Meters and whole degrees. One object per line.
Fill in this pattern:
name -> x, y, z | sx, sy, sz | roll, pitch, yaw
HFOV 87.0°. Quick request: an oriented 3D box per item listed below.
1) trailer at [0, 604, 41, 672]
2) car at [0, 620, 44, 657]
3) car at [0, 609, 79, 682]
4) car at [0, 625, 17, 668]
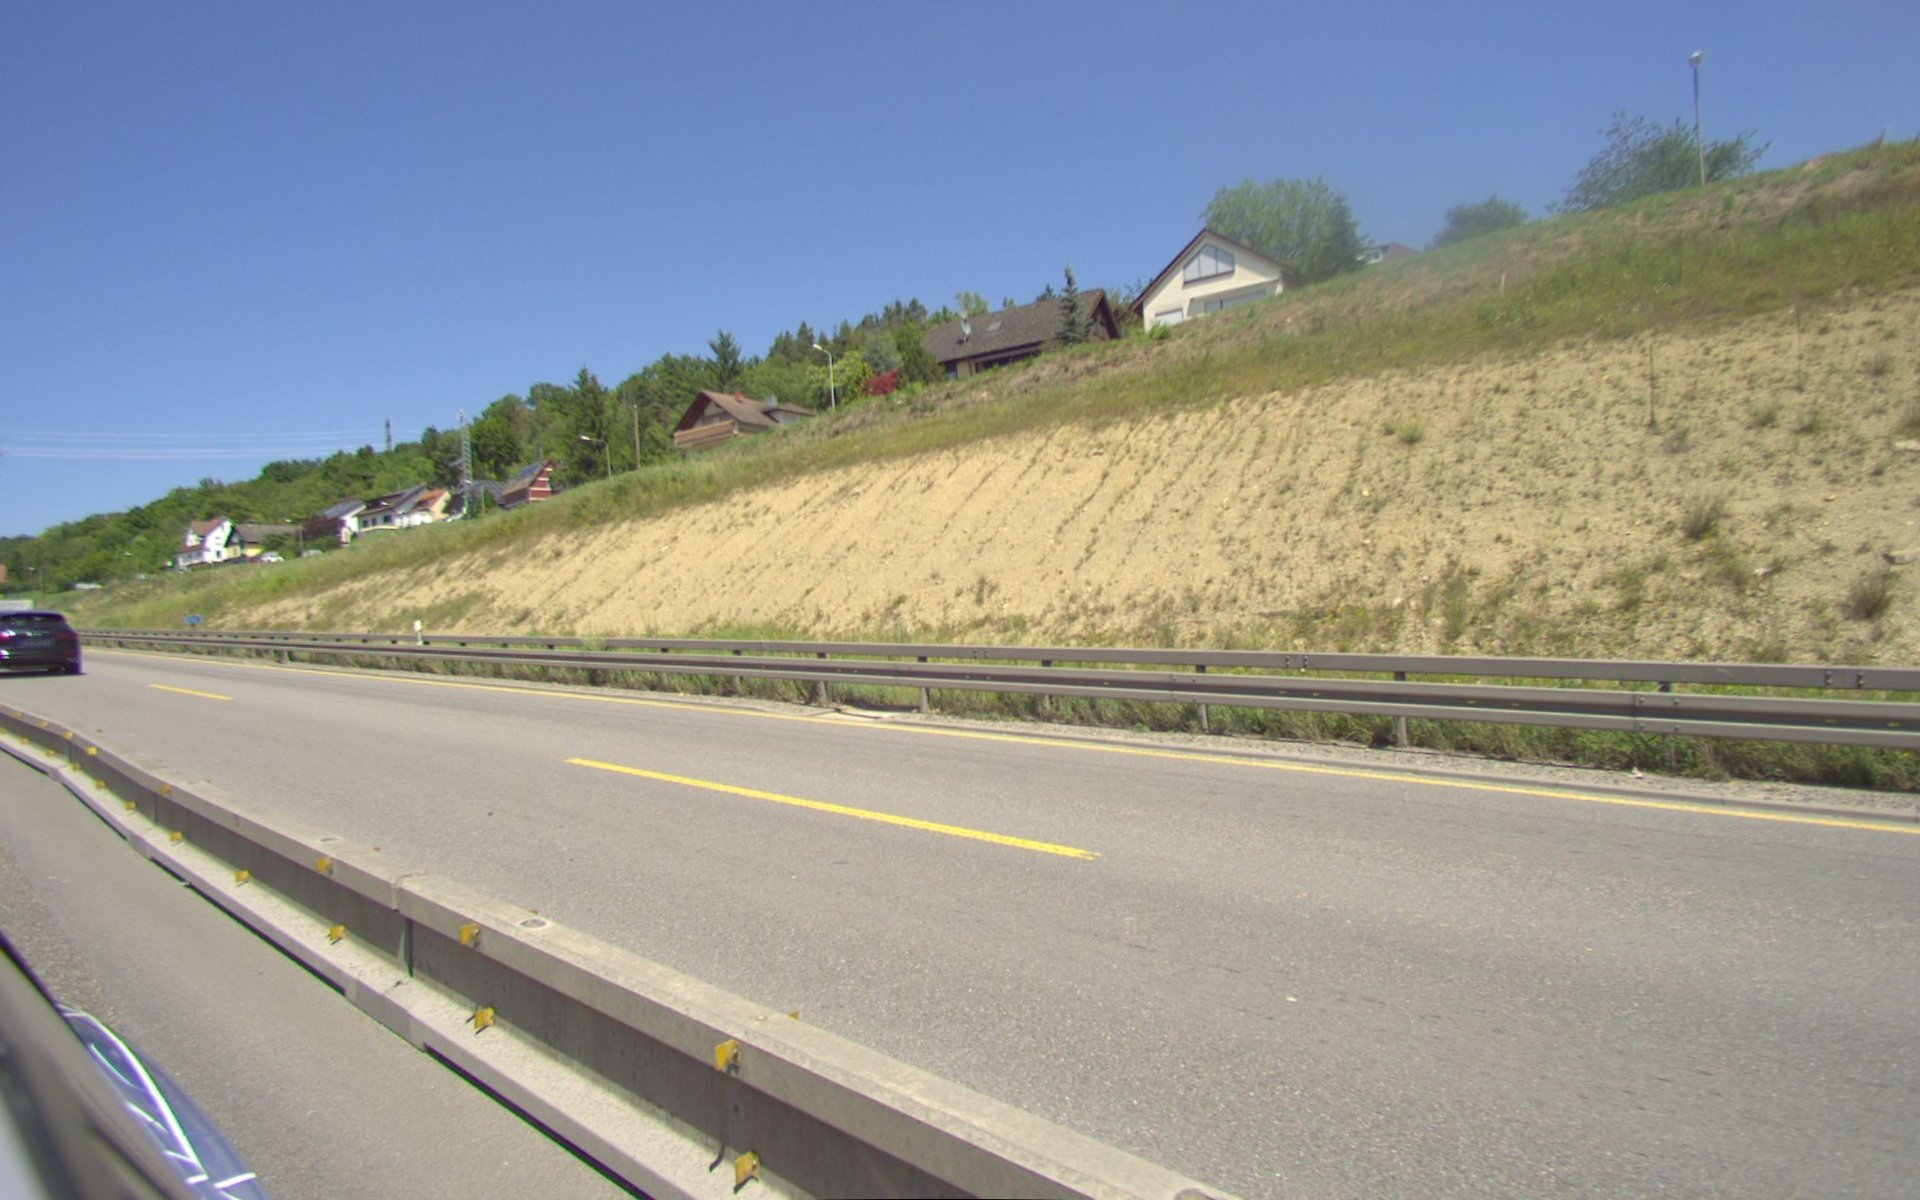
trailer -> -30.791, 1.195, 32.223 | 4.265, 2.041, 1.631 | -1, -1, 39
car -> -44.155, 1.760, 46.982 | 4.511, 1.596, 1.880 | -1, 0, 40
car -> -24.291, 1.134, 26.074 | 4.560, 1.721, 1.871 | -1, -1, 42
car -> -33.650, 1.581, 34.521 | 3.995, 1.426, 1.631 | -1, -1, 39
